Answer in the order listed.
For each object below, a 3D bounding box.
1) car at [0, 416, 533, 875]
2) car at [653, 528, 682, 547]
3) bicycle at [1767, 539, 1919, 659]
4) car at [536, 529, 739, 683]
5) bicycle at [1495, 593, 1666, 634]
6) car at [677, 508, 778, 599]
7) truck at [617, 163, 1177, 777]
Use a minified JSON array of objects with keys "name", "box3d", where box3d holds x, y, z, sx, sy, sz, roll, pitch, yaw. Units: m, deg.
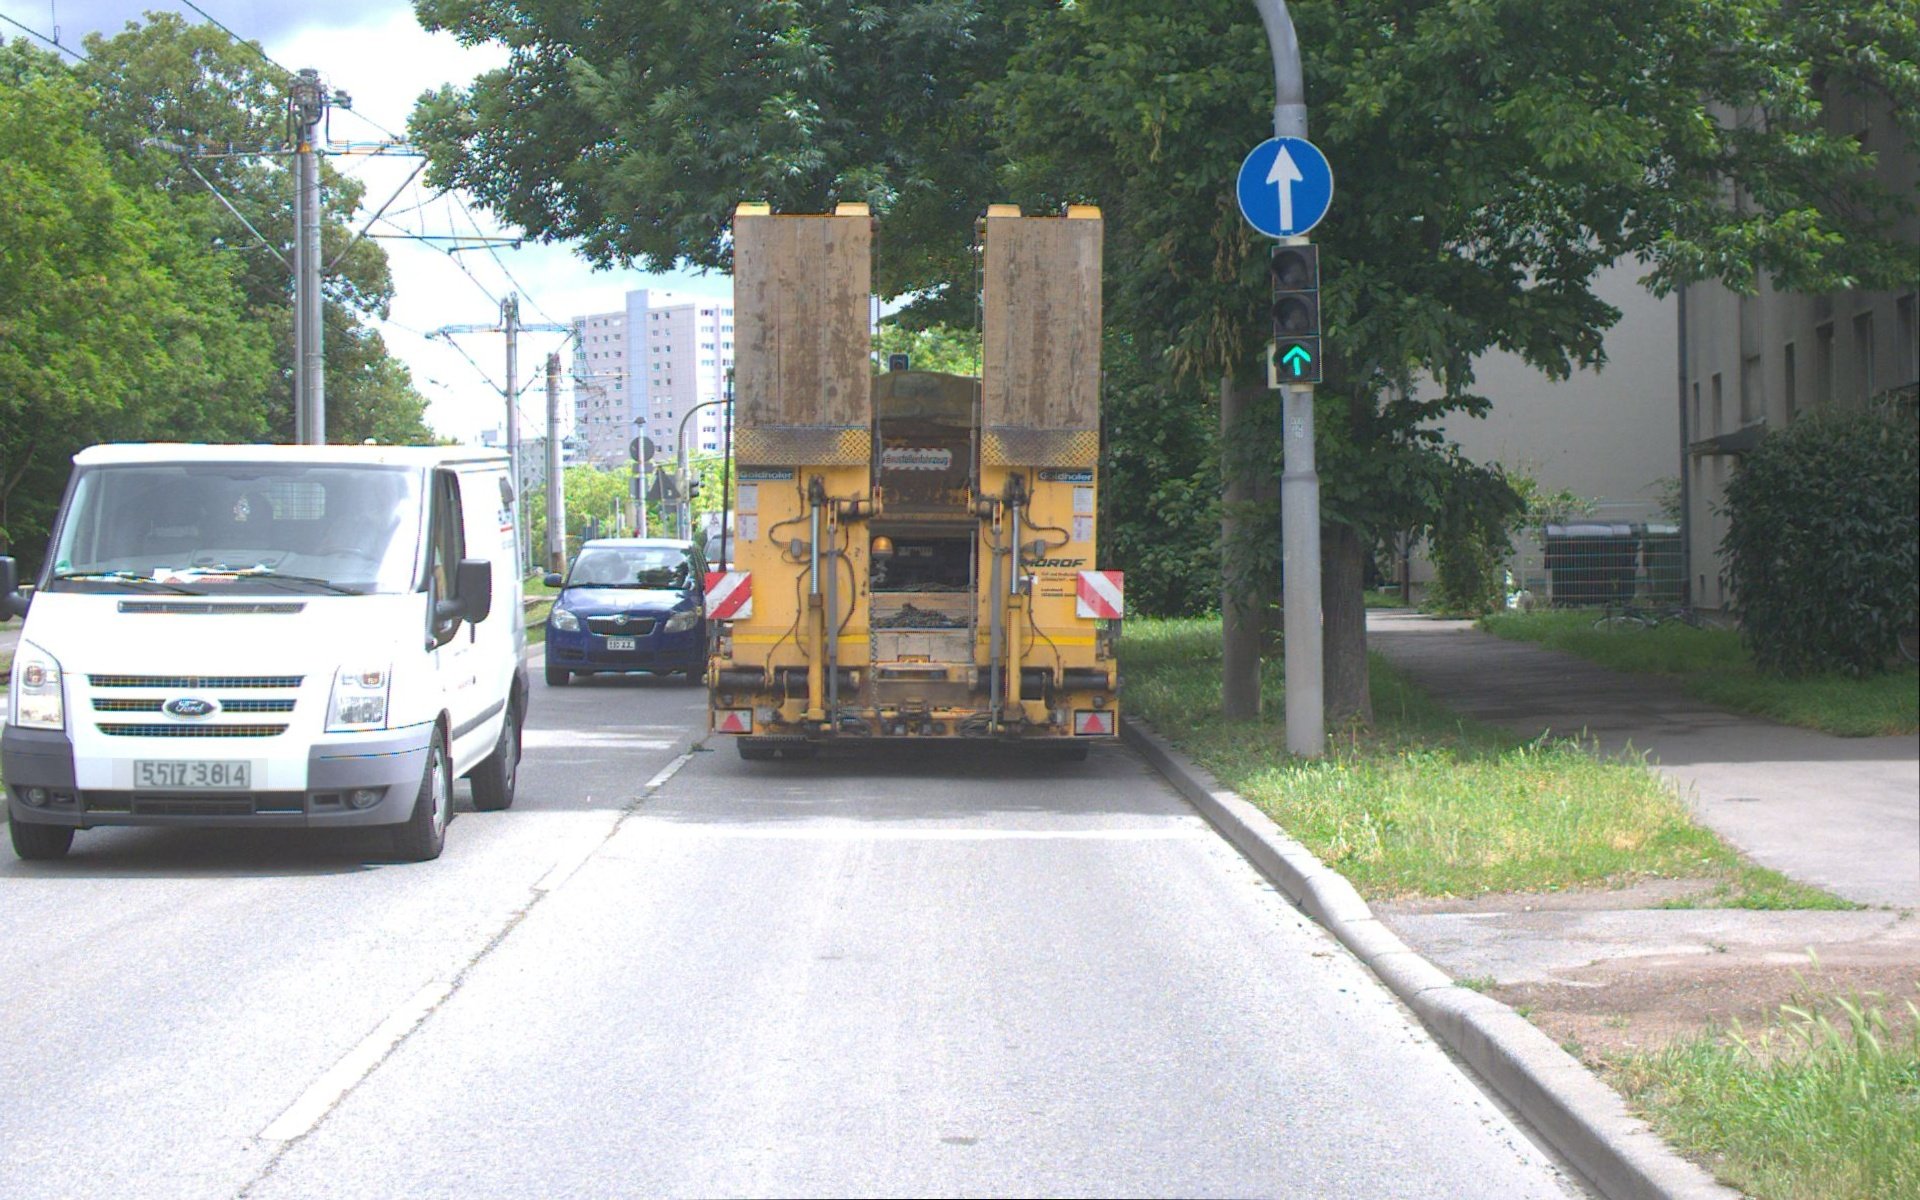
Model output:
[{"name":"car","box3d":[-3.370,0.146,17.328,1.993,1.989,4.787,0,1,-2]},{"name":"car","box3d":[-22.100,-4.712,259.984,1.993,1.415,4.001,1,1,-7]},{"name":"bicycle","box3d":[8.289,-0.017,31.772,0.435,1.076,1.754,1,1,-36]},{"name":"car","box3d":[-3.307,0.019,35.808,1.581,1.480,3.806,1,1,3]},{"name":"bicycle","box3d":[8.205,0.178,45.481,2.205,0.506,0.673,1,1,10]},{"name":"car","box3d":[-4.071,-0.836,60.618,1.637,1.528,3.275,1,2,-2]},{"name":"truck","box3d":[-0.601,-0.828,26.773,3.316,3.638,12.563,0,1,-2]}]
